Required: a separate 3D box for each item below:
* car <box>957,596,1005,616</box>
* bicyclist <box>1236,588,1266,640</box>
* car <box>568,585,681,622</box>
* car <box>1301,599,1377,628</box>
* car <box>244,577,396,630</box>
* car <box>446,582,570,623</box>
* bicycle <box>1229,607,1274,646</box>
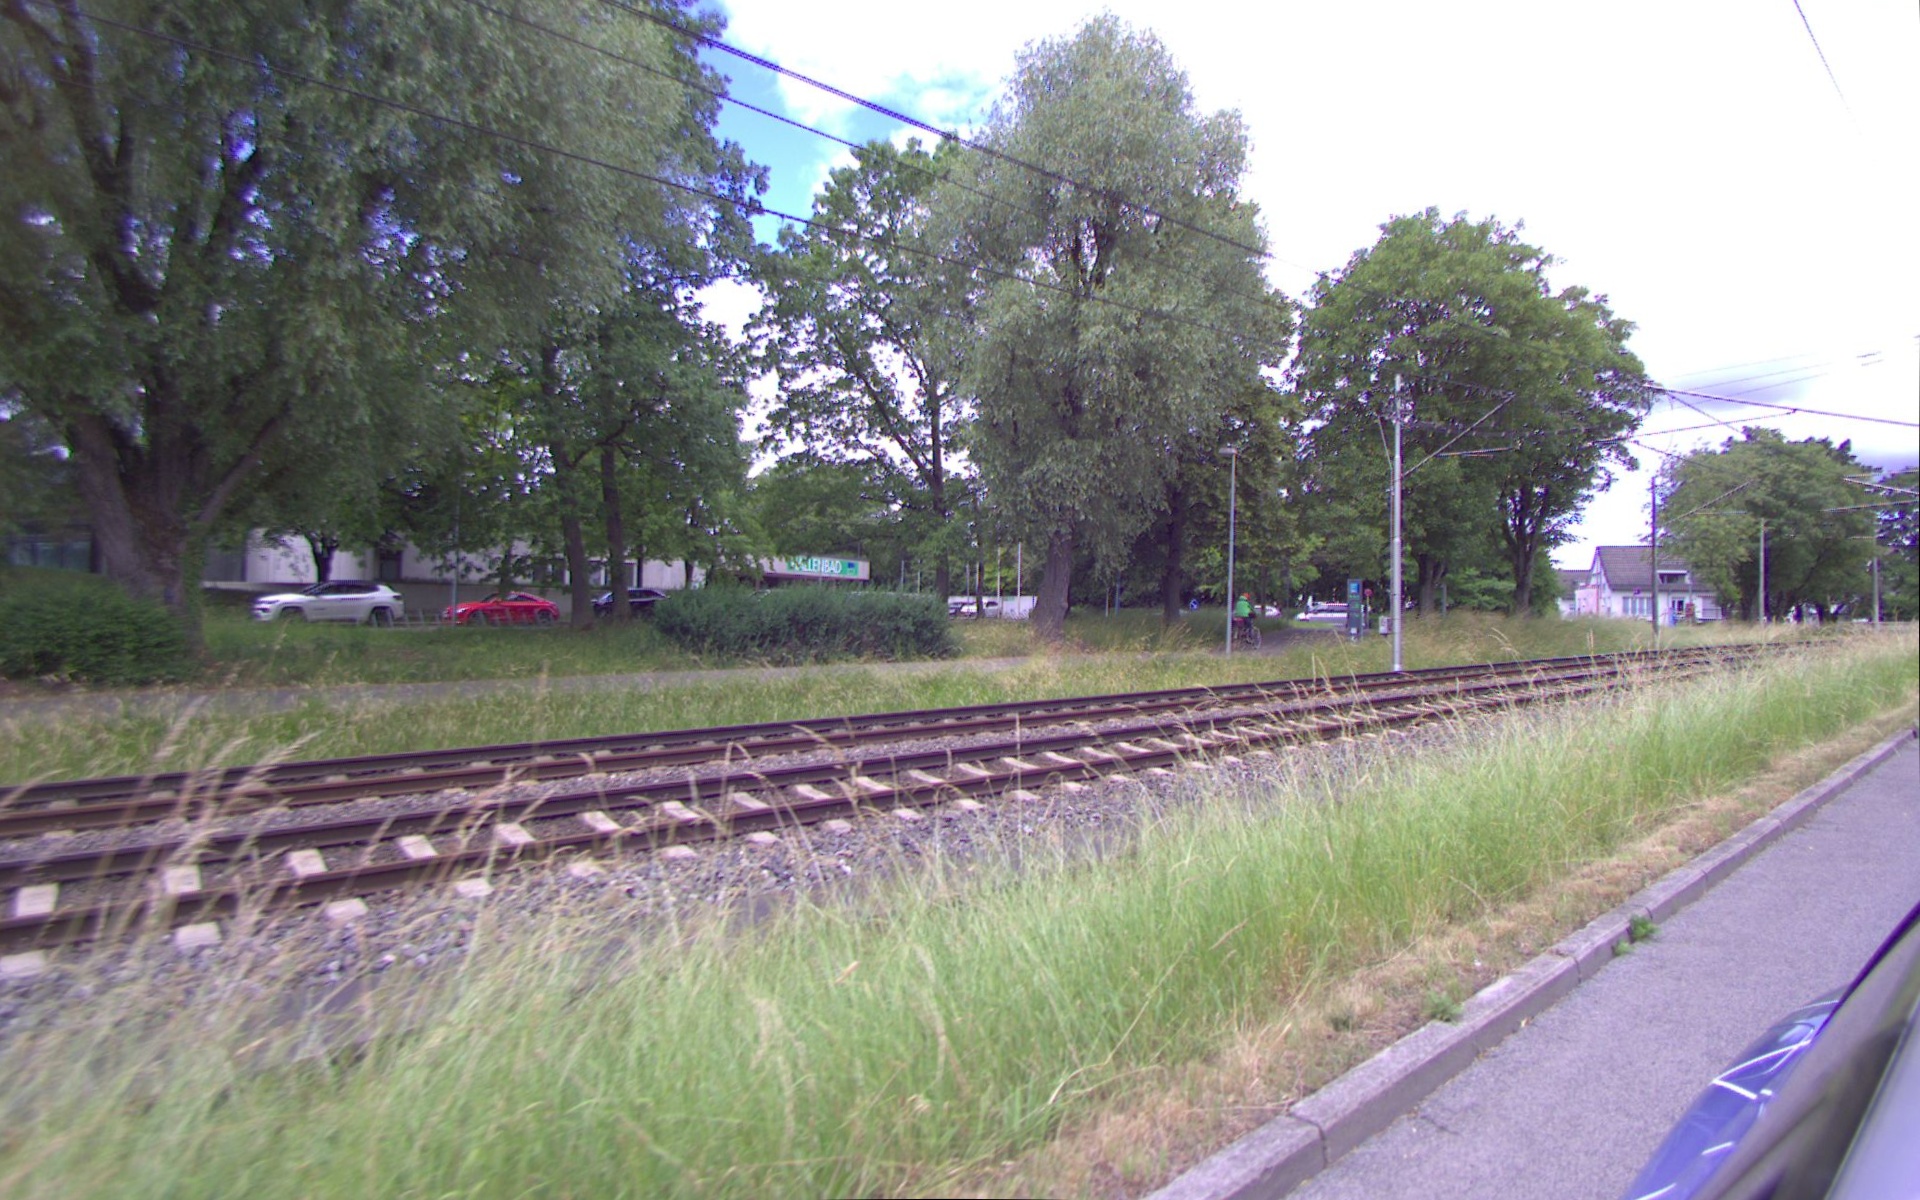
[{"bbox_3d":[1.728,0.487,82.722,1.964,1.601,4.412,0,0,32],"label":"car"},{"bbox_3d":[9.661,0.458,33.645,0.920,1.718,0.581,1,-1,-44],"label":"bicyclist"},{"bbox_3d":[-13.722,0.139,41.496,3.930,1.461,1.997,0,0,-41],"label":"car"},{"bbox_3d":[25.653,0.884,68.573,4.667,1.885,1.900,0,0,27],"label":"car"},{"bbox_3d":[-21.822,0.132,34.569,4.154,1.722,1.997,0,-1,-41],"label":"car"},{"bbox_3d":[-17.194,0.096,38.548,3.930,1.461,1.997,0,0,-41],"label":"car"},{"bbox_3d":[9.708,0.858,33.681,1.897,1.262,0.581,0,-1,-45],"label":"bicycle"}]
